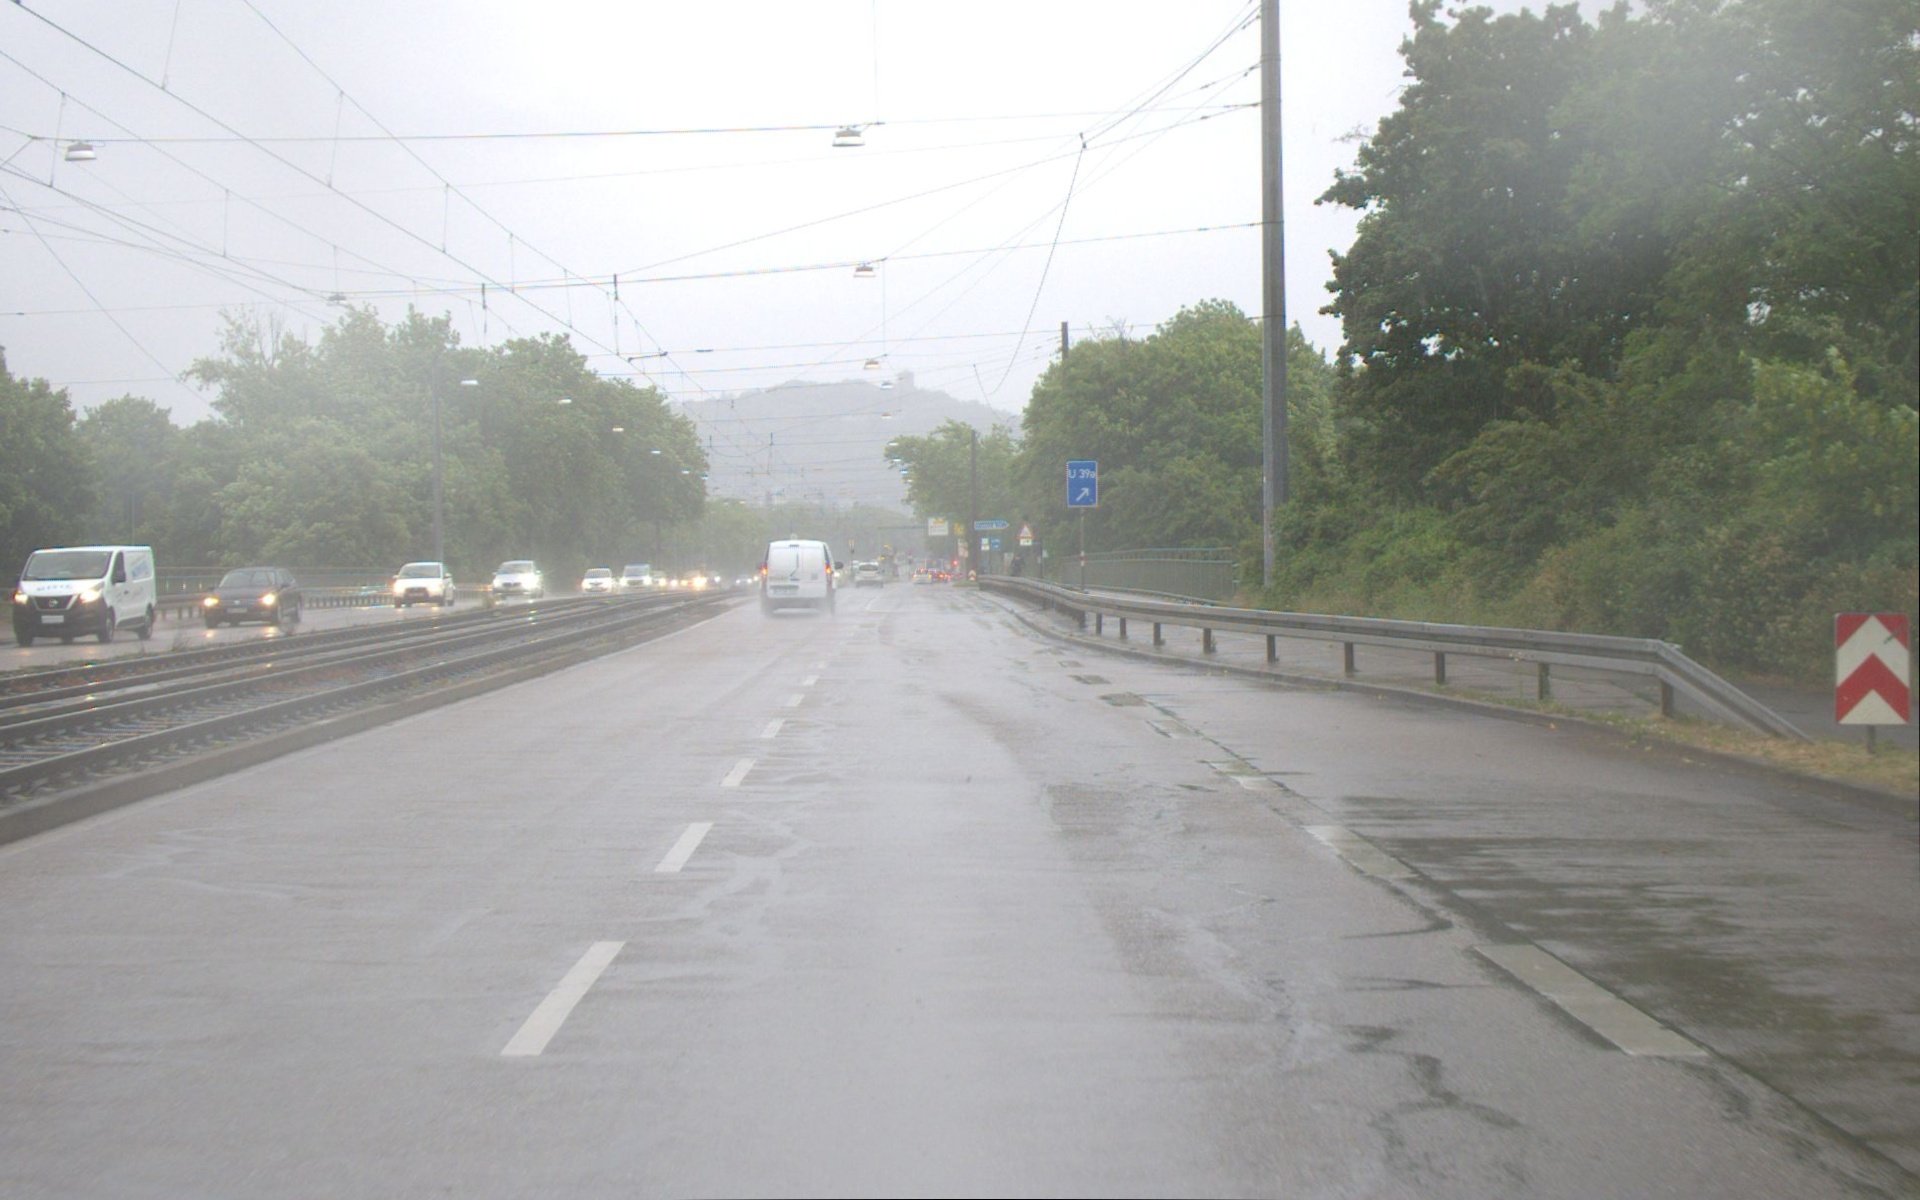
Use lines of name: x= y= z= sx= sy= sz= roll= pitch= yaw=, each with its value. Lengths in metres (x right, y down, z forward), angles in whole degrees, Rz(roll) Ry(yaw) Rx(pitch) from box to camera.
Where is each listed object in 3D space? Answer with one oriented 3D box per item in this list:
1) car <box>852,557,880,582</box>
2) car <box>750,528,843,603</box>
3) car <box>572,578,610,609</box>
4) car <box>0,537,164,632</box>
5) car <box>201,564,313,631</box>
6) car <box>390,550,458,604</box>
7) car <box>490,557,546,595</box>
car: x=-5.991 y=-1.959 z=219.974 sx=1.743 sy=1.503 sz=3.700 roll=1 pitch=2 yaw=-1
car: x=-3.874 y=-0.851 z=82.092 sx=1.989 sy=1.678 sz=3.740 roll=1 pitch=2 yaw=1
car: x=-19.935 y=-0.353 z=185.906 sx=1.743 sy=1.503 sz=3.700 roll=1 pitch=2 yaw=-1
car: x=-17.789 y=-0.357 z=69.794 sx=2.040 sy=1.769 sz=4.986 roll=1 pitch=2 yaw=1
car: x=-17.671 y=-0.077 z=86.597 sx=1.689 sy=1.514 sz=4.611 roll=1 pitch=2 yaw=2
car: x=-18.136 y=-0.796 z=116.376 sx=1.754 sy=1.705 sz=4.001 roll=1 pitch=2 yaw=-1
car: x=-18.349 y=-1.004 z=142.884 sx=1.797 sy=1.448 sz=4.195 roll=1 pitch=2 yaw=0
